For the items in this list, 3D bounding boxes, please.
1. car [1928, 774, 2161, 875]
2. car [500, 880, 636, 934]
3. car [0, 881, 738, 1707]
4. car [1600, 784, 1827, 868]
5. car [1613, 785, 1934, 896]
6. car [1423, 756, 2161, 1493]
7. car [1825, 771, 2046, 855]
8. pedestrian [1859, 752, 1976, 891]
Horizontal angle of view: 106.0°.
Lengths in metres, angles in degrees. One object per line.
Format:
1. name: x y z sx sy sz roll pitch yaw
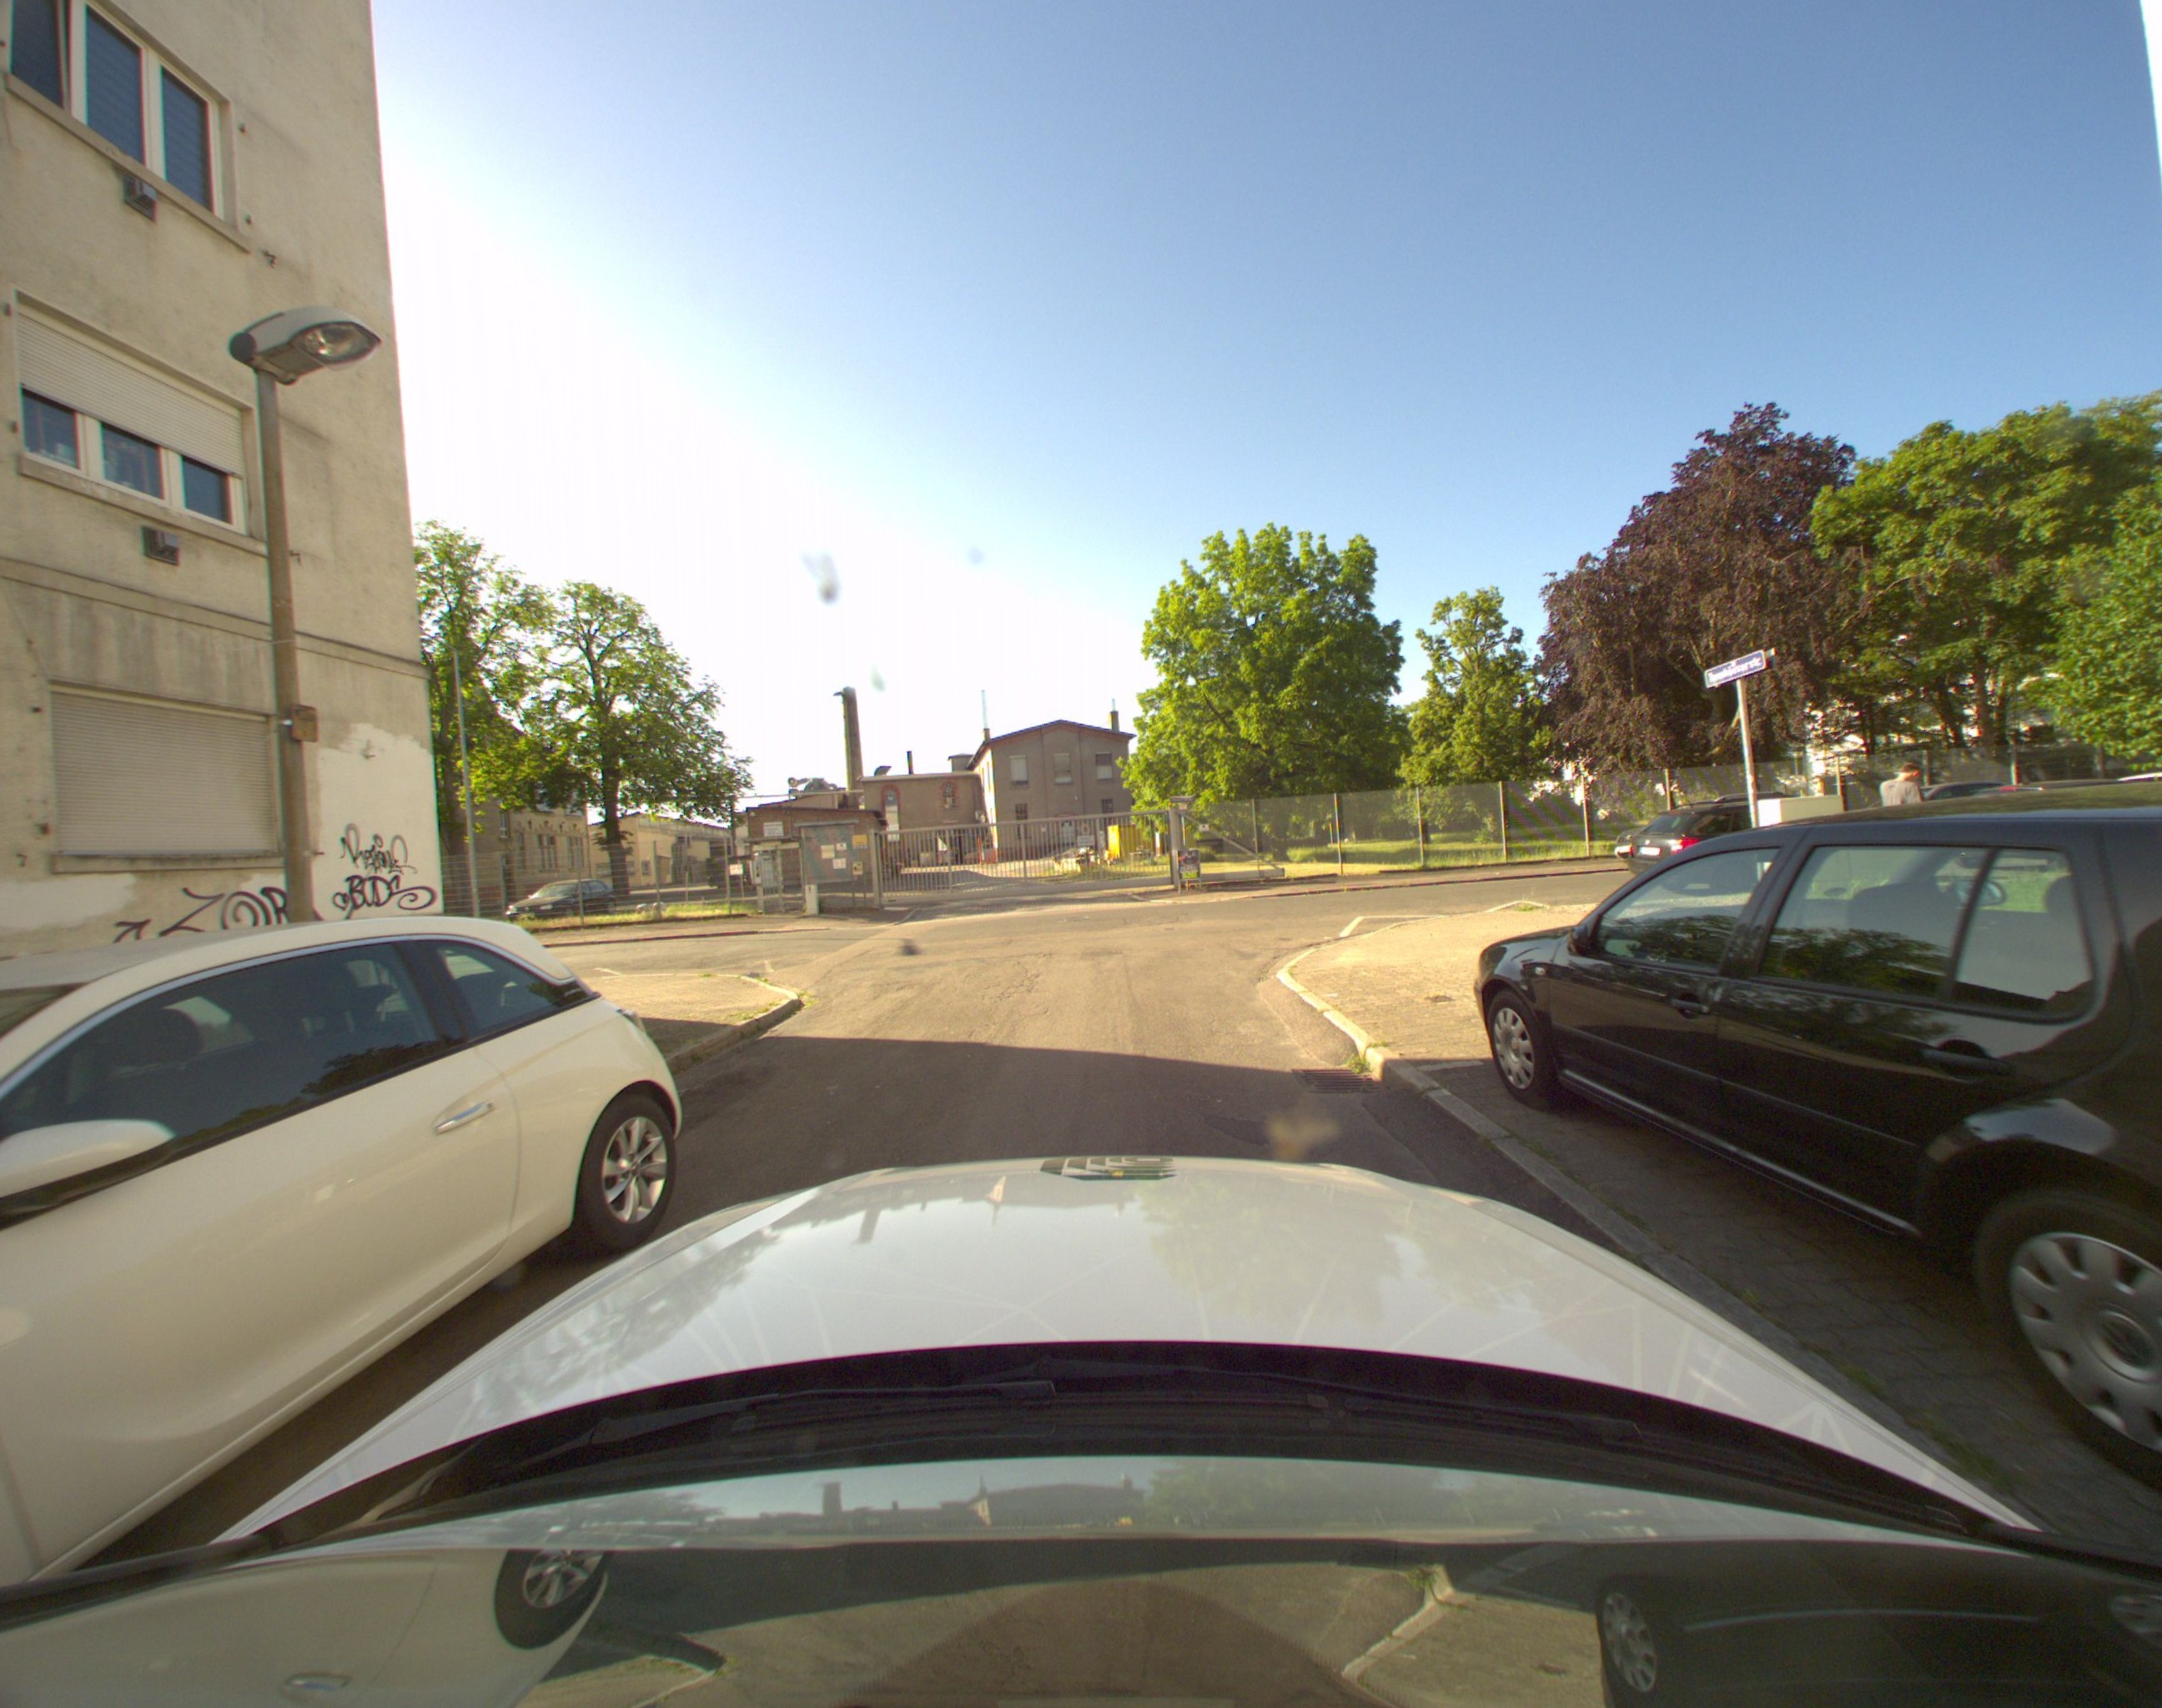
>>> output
1. car: 17.203 -0.539 13.882 3.772 1.484 1.610 -4 1 1
2. car: -17.532 1.749 28.087 1.986 1.420 4.001 -4 0 1
3. car: -2.766 0.967 2.318 1.679 1.459 3.725 -6 0 4
4. car: 15.461 -0.636 20.075 4.136 1.664 1.718 -4 -3 1
5. car: 11.737 -0.221 13.989 4.058 1.548 1.623 -4 0 1
6. car: 3.019 0.459 3.019 1.791 1.415 4.051 -7 0 2
7. car: 20.812 -0.968 19.949 3.591 1.643 1.569 -4 -3 1
8. pedestrian: 11.256 -0.430 10.980 0.835 1.771 0.647 -4 1 1
